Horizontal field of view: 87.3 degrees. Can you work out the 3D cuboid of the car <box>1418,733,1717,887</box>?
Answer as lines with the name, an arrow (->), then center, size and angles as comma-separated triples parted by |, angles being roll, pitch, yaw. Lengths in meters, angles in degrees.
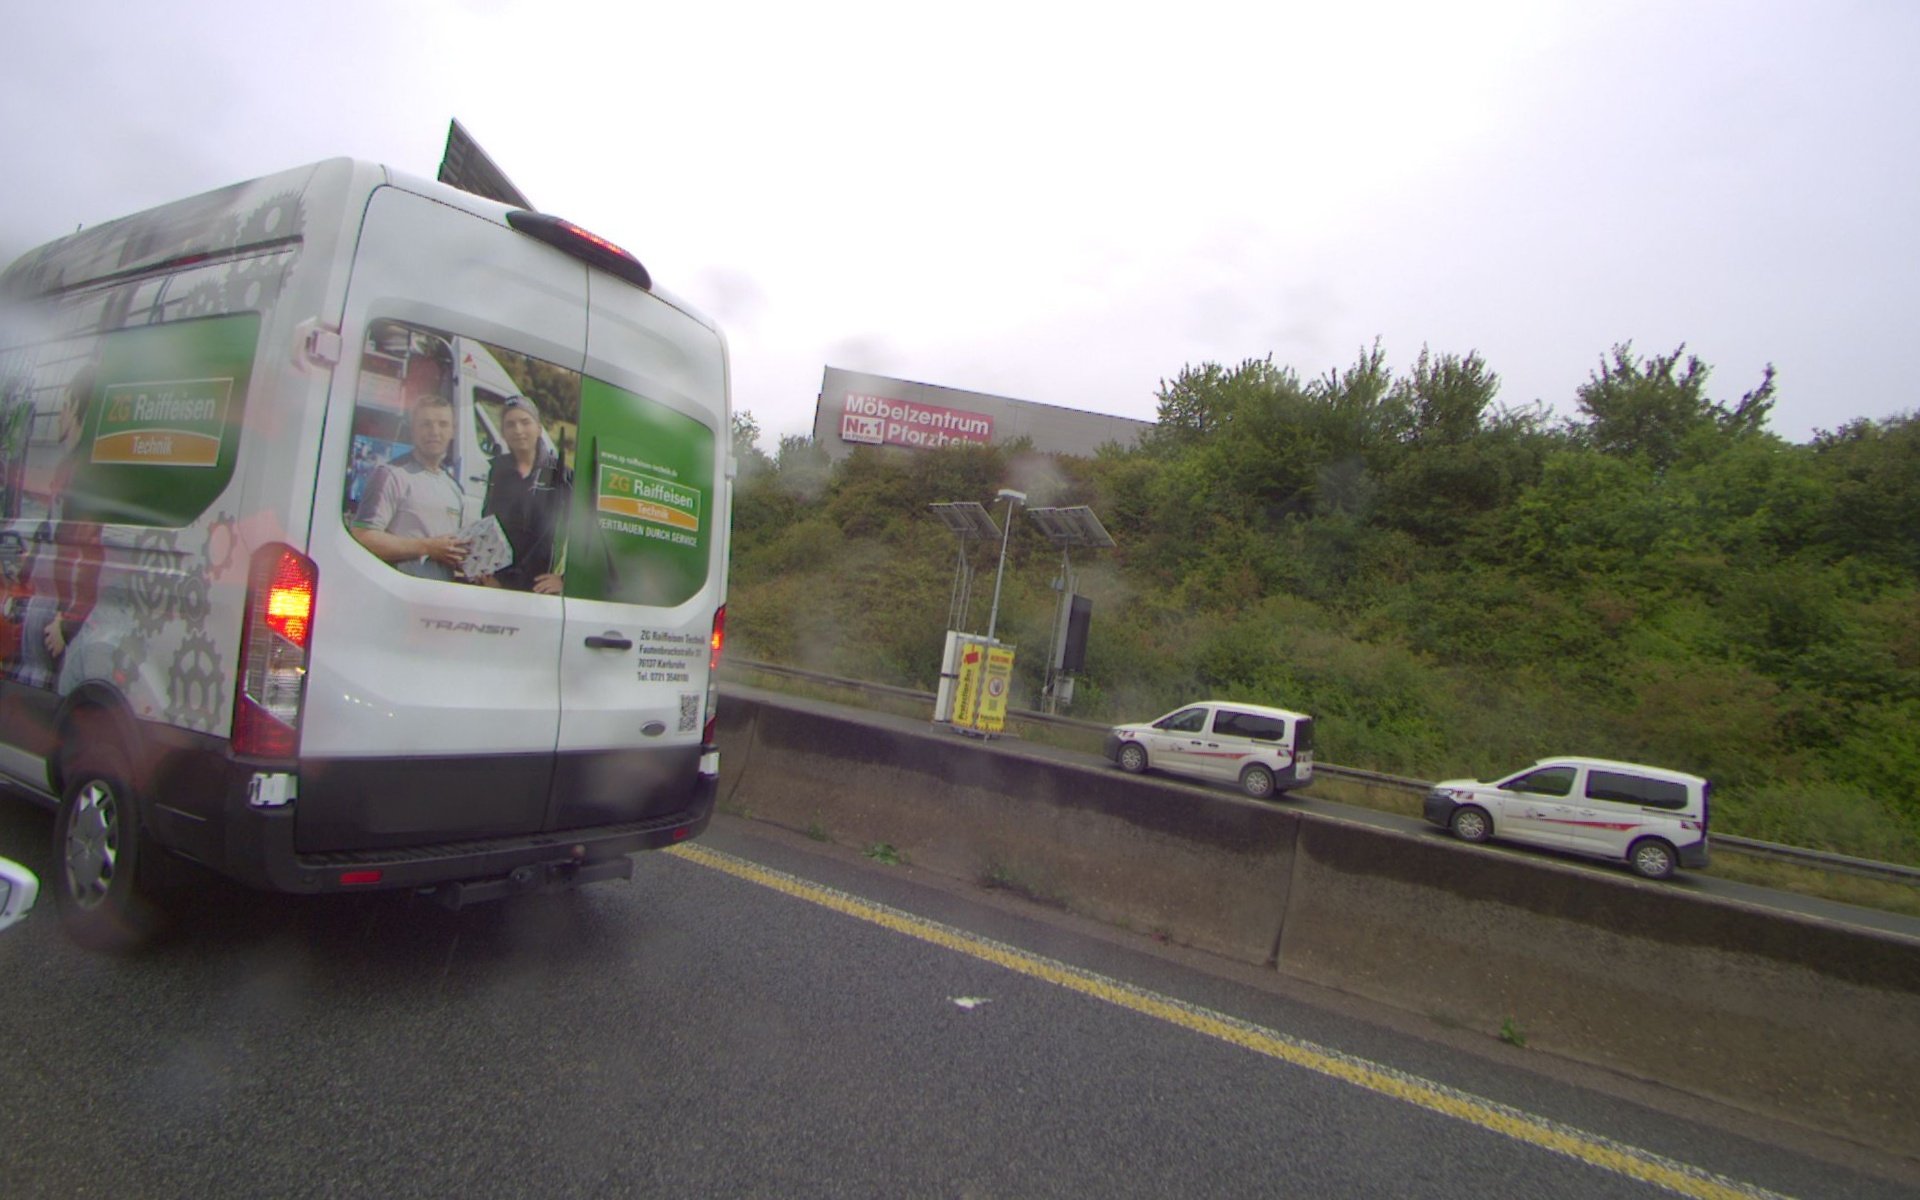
car -> 10.764, 3.634, 18.120 | 4.257, 1.790, 1.732 | 6, -2, 31

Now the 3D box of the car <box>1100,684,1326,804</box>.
car -> 5.354, 2.978, 21.408 | 4.197, 1.778, 1.732 | 6, -2, 31

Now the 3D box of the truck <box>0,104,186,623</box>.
truck -> -19.669, -3.658, 16.473 | 20.041, 5.739, 3.986 | 6, -1, 32

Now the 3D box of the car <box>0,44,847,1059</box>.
car -> -3.752, -0.305, 5.178 | 6.016, 2.707, 2.148 | 6, -1, 32
